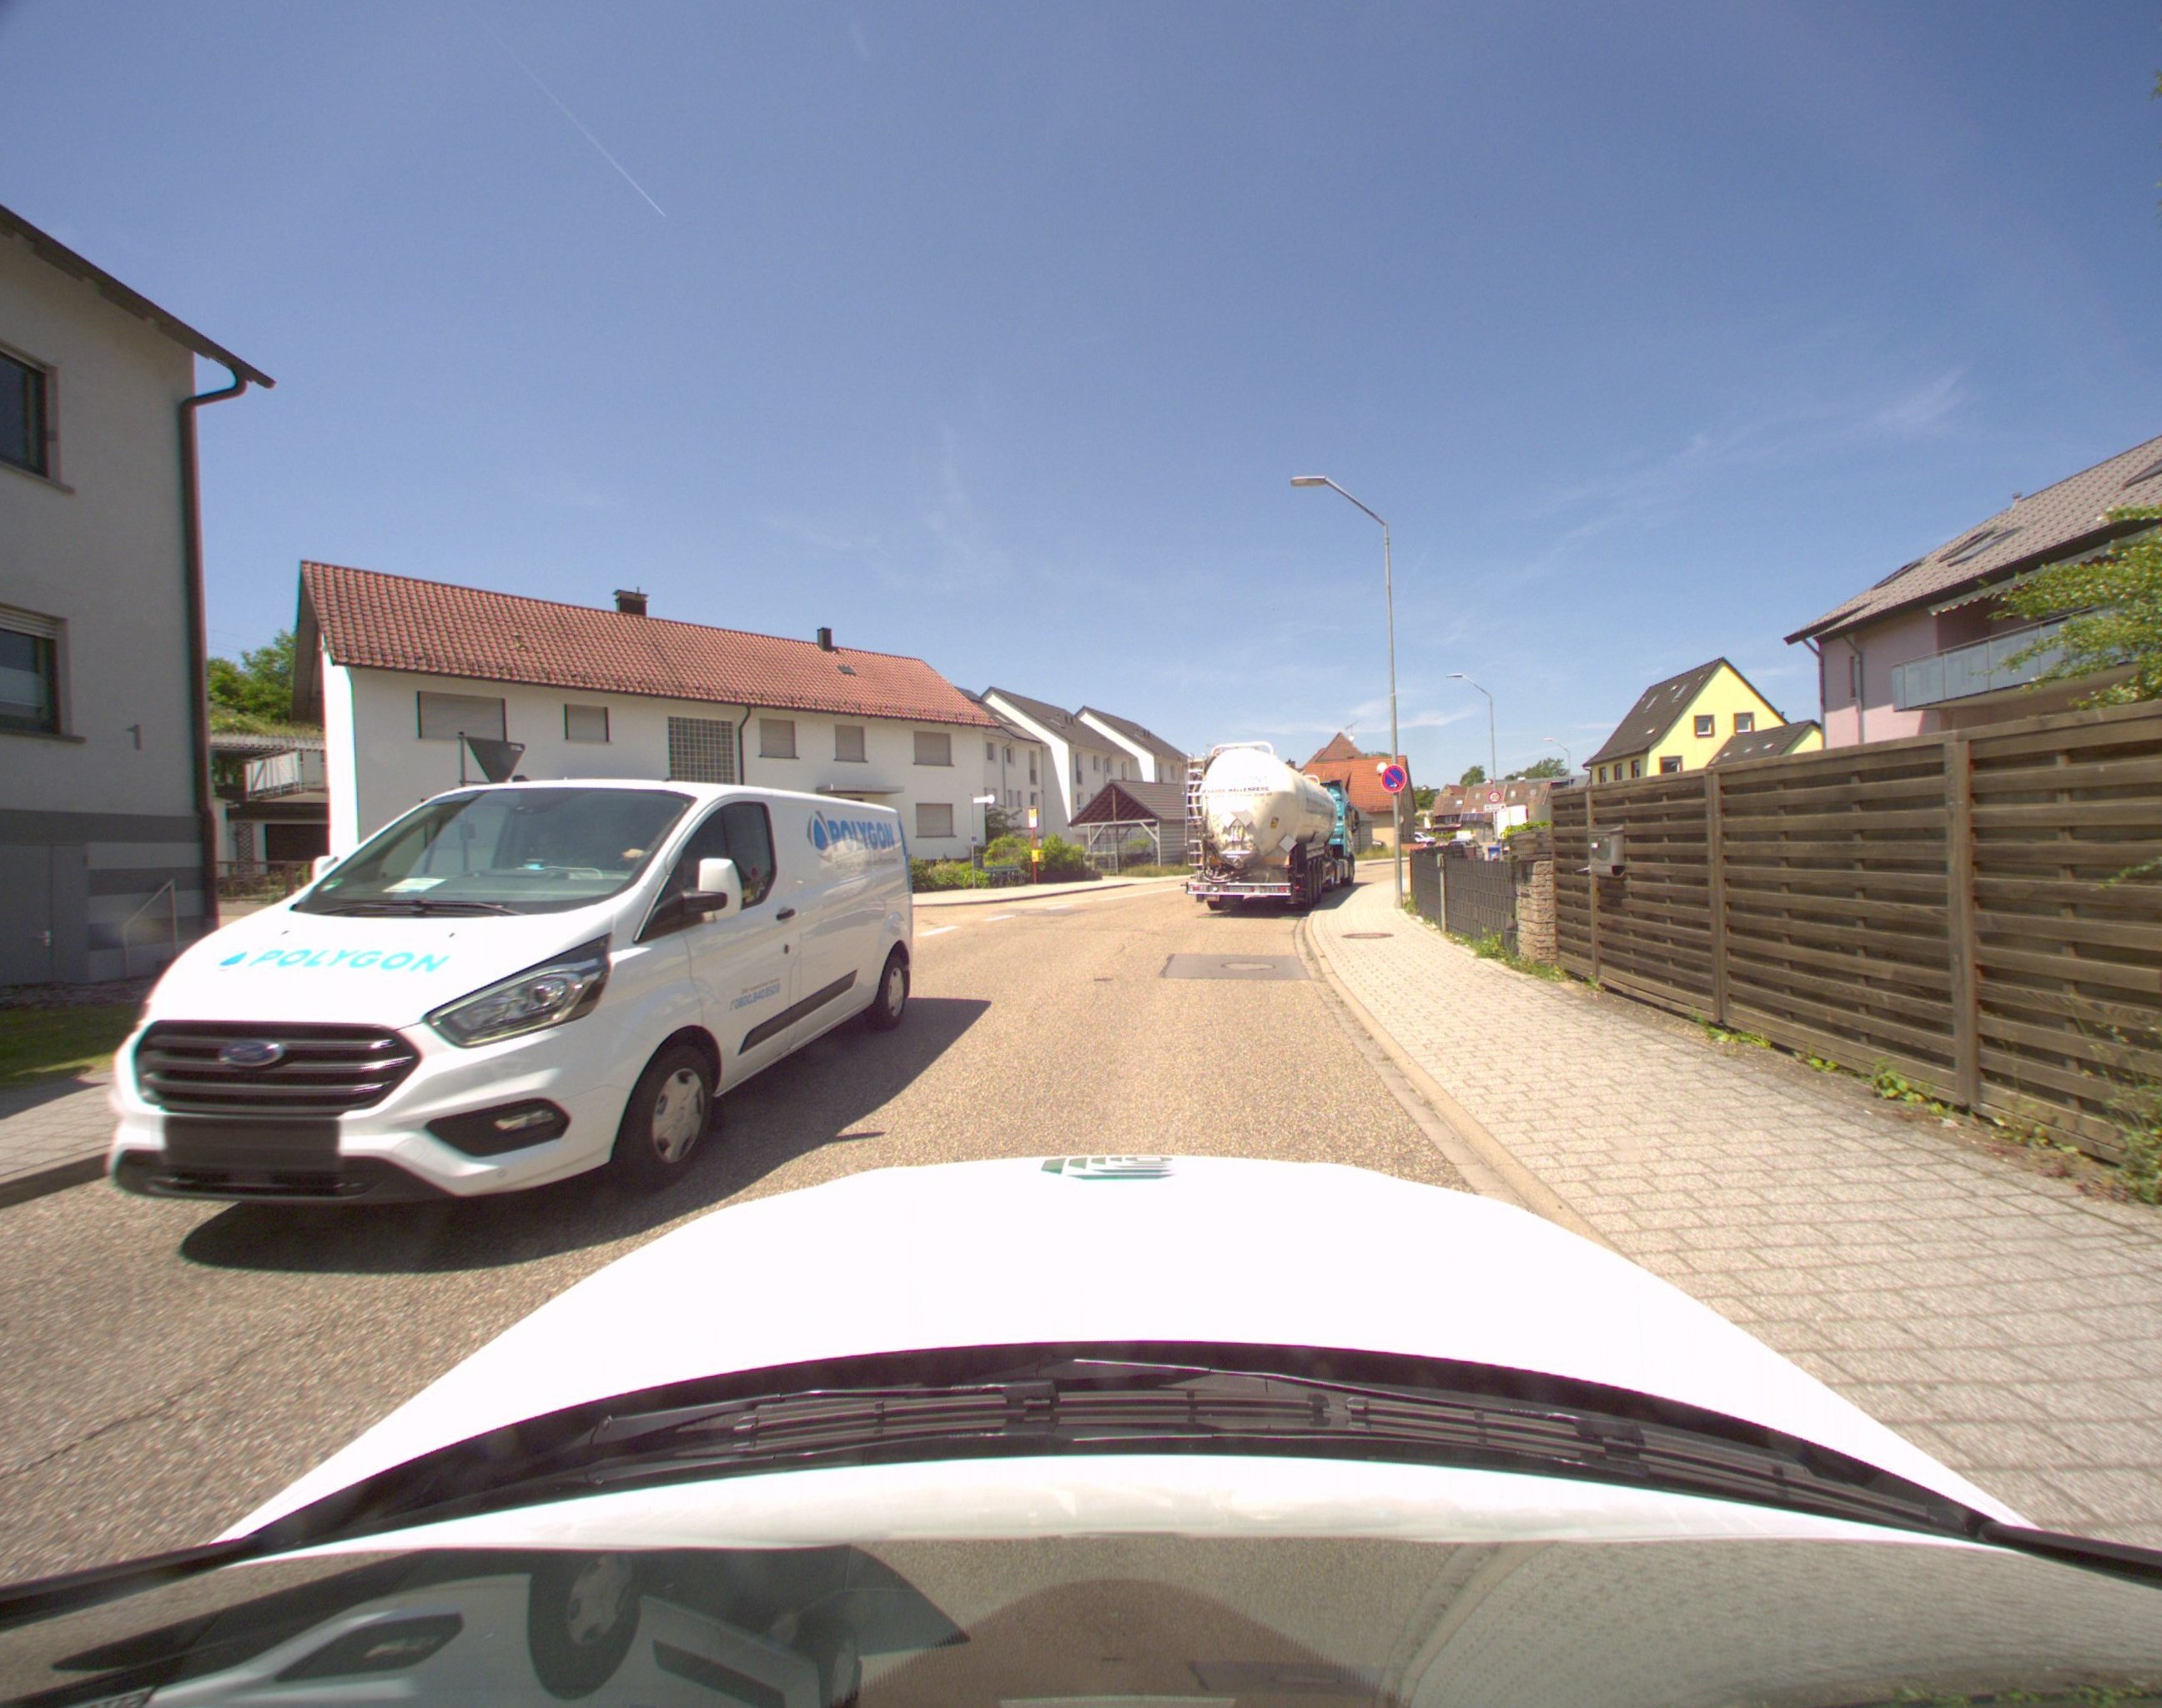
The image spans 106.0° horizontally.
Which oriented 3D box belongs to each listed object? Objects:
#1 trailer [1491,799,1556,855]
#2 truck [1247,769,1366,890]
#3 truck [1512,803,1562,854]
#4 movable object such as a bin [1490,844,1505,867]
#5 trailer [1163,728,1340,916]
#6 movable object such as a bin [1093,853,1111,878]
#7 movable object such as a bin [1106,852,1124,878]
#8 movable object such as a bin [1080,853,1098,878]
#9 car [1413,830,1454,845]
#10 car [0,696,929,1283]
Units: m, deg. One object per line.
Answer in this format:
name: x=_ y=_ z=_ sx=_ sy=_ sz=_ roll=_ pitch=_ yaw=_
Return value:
trailer: x=37.374 y=-2.115 z=68.483 sx=3.101 sy=4.277 sz=12.575 roll=-1 pitch=0 yaw=36
truck: x=8.467 y=-0.808 z=30.095 sx=2.959 sy=3.965 sz=5.613 roll=-2 pitch=-1 yaw=28
truck: x=41.531 y=-2.251 z=74.093 sx=3.074 sy=4.401 sz=5.973 roll=-1 pitch=0 yaw=37
movable object such as a bin: x=19.388 y=0.060 z=37.908 sx=0.560 sy=1.057 sz=0.654 roll=-2 pitch=0 yaw=23
trailer: x=5.361 y=-0.707 z=23.092 sx=2.927 sy=3.948 sz=11.680 roll=-2 pitch=0 yaw=21
movable object such as a bin: x=1.083 y=0.583 z=42.101 sx=0.634 sy=1.278 sz=0.699 roll=-1 pitch=0 yaw=38
movable object such as a bin: x=1.744 y=0.558 z=41.593 sx=0.634 sy=1.278 sz=0.699 roll=-1 pitch=0 yaw=38
movable object such as a bin: x=0.422 y=0.607 z=42.550 sx=0.634 sy=1.278 sz=0.699 roll=-1 pitch=0 yaw=38
car: x=44.832 y=-2.066 z=103.611 sx=1.886 sy=1.785 sz=4.478 roll=-3 pitch=2 yaw=-30
car: x=-2.694 y=0.448 z=5.442 sx=1.984 sy=1.999 sz=5.221 roll=0 pitch=0 yaw=5
